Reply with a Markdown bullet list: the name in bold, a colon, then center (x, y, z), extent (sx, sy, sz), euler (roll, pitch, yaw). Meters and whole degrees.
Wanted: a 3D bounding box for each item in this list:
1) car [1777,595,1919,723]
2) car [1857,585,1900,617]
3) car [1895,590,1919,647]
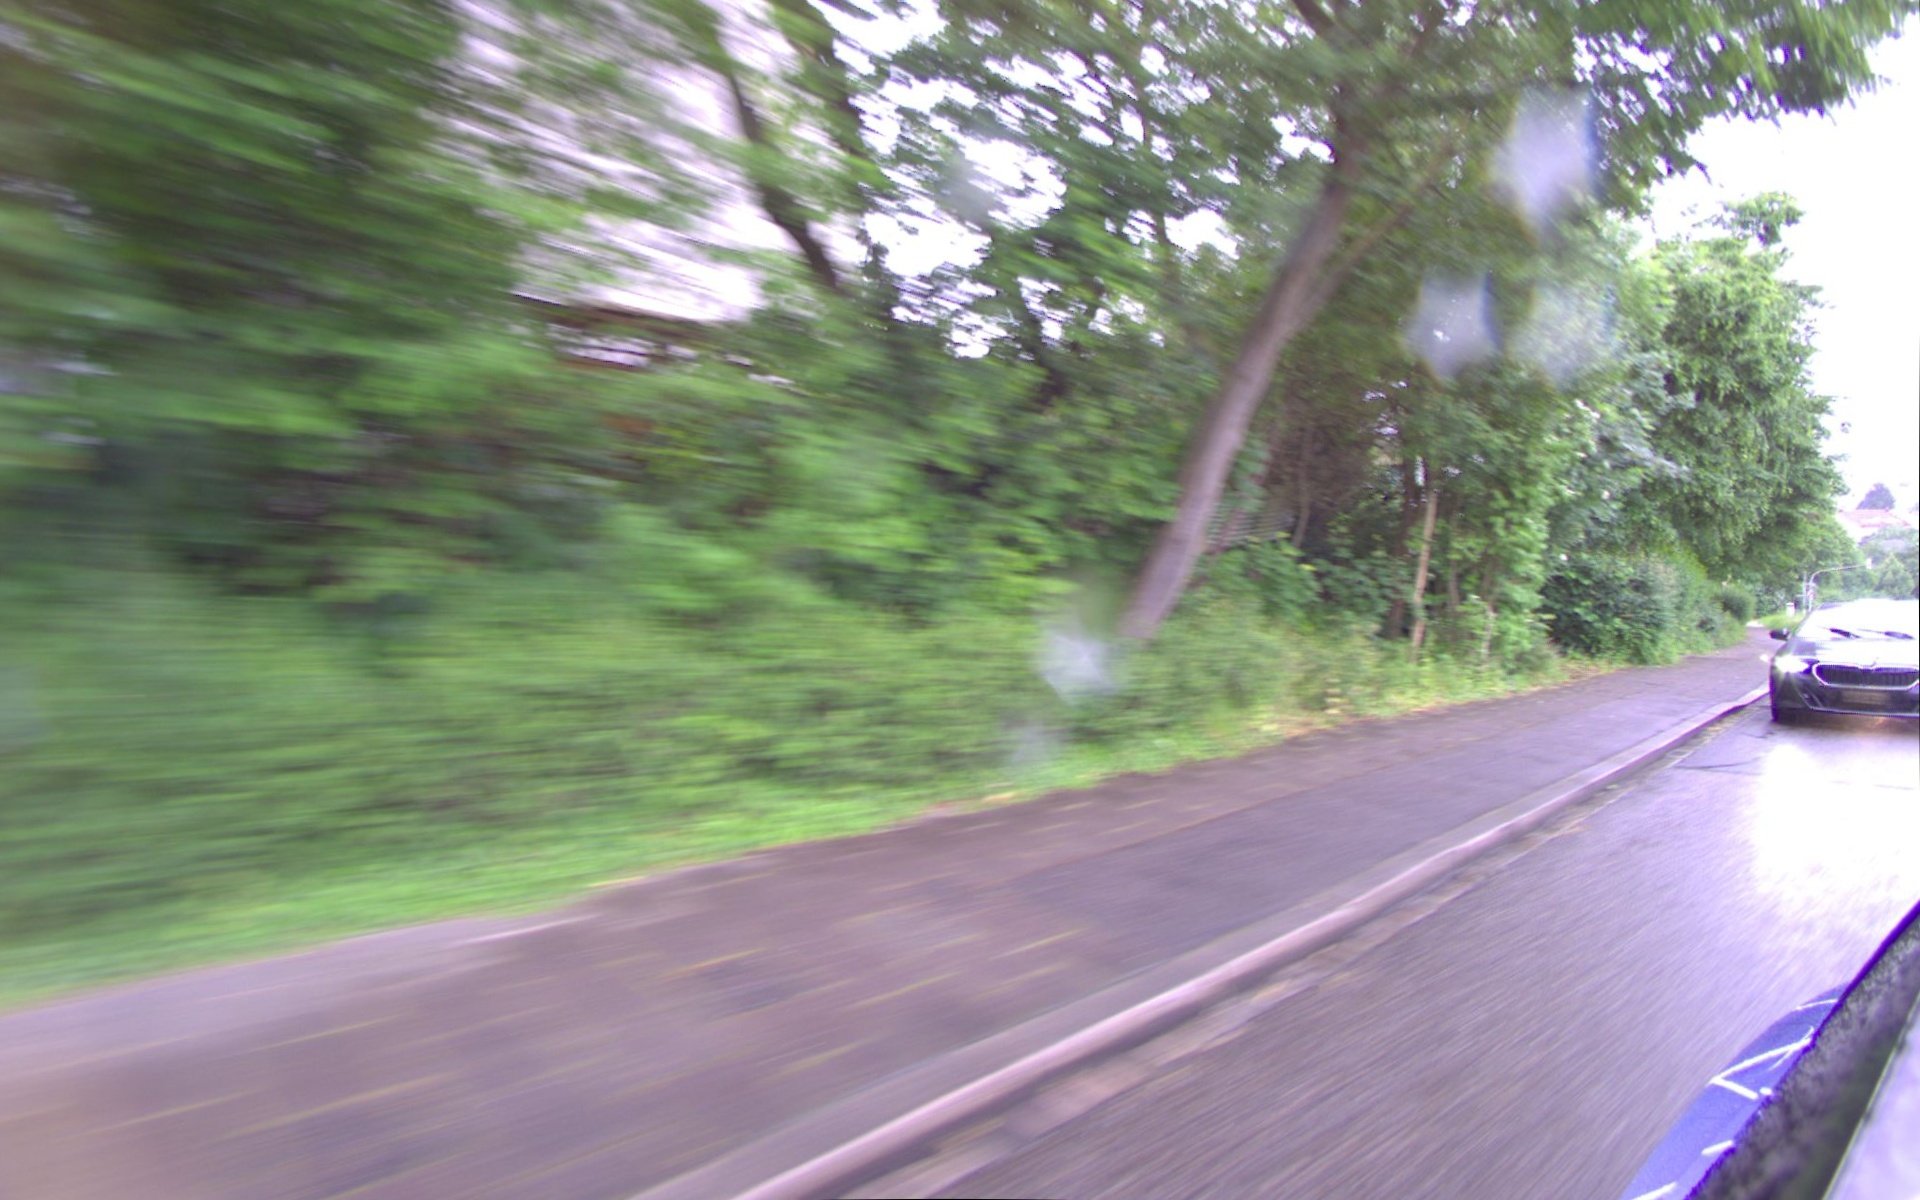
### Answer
- **car**: center (12.031, 0.651, 12.954), extent (4.211, 1.396, 1.843), euler (-1, 0, -43)
- **car**: center (52.094, 0.057, 57.389), extent (1.698, 1.701, 4.217), euler (3, 2, 42)
- **car**: center (27.718, 0.527, 28.659), extent (4.212, 1.532, 1.548), euler (0, 2, -44)
